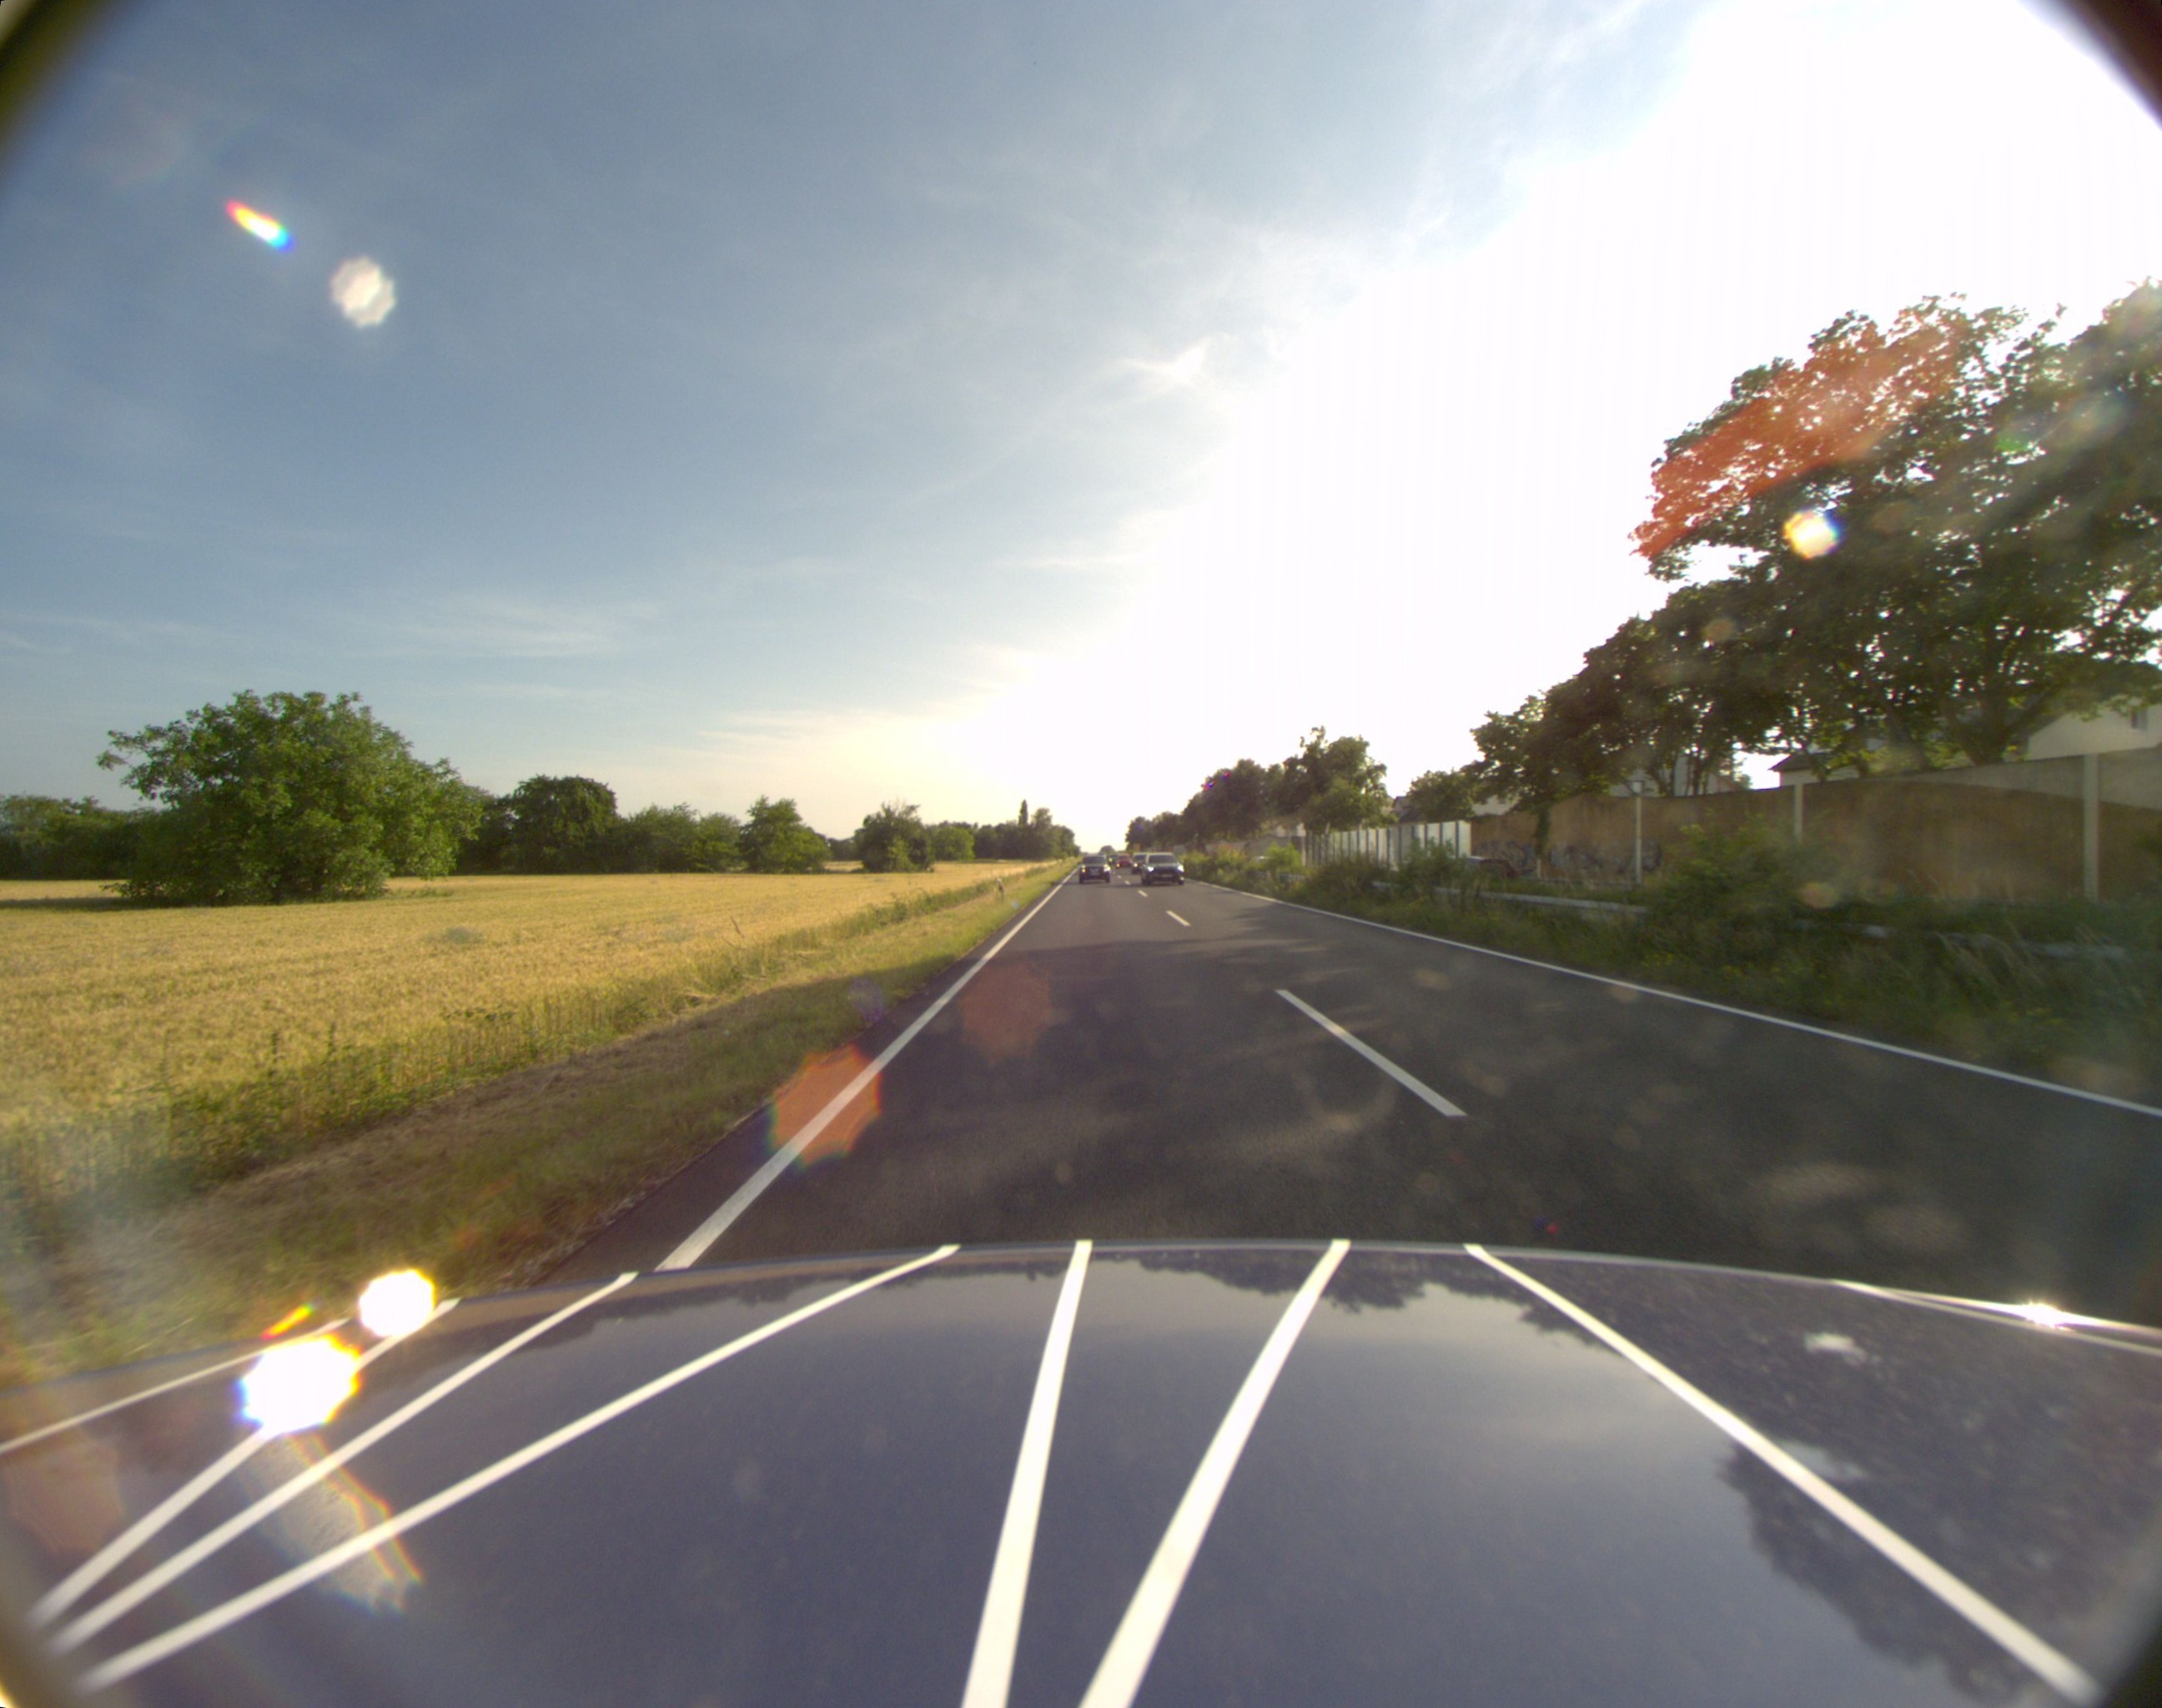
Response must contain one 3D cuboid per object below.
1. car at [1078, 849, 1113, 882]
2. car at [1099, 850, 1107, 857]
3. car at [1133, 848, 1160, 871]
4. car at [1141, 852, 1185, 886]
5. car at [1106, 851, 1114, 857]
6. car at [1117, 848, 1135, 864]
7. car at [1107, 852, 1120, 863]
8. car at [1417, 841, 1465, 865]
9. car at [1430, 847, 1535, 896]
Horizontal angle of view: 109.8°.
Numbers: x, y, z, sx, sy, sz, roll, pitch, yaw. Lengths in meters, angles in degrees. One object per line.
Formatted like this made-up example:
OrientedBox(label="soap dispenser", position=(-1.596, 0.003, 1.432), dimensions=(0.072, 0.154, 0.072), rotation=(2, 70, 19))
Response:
OrientedBox(label="car", position=(0.806, 0.609, 42.007), dimensions=(1.822, 1.661, 4.000), rotation=(-2, 1, 1))
OrientedBox(label="car", position=(5.651, -0.096, 195.485), dimensions=(1.854, 1.641, 3.999), rotation=(-2, 1, 1))
OrientedBox(label="car", position=(5.178, 0.420, 60.277), dimensions=(1.822, 1.724, 4.000), rotation=(-2, 1, 2))
OrientedBox(label="car", position=(4.113, 0.695, 38.540), dimensions=(1.821, 1.516, 4.246), rotation=(-2, 1, 2))
OrientedBox(label="car", position=(6.612, -0.004, 172.033), dimensions=(1.693, 1.397, 4.000), rotation=(-2, 1, 1))
OrientedBox(label="car", position=(4.897, 0.184, 83.373), dimensions=(1.822, 1.661, 4.000), rotation=(-2, 1, 1))
OrientedBox(label="car", position=(4.659, 0.553, 109.440), dimensions=(1.700, 1.456, 3.646), rotation=(-2, 1, 1))
OrientedBox(label="car", position=(31.175, -0.129, 65.947), dimensions=(1.790, 1.908, 4.914), rotation=(-2, 1, 1))
OrientedBox(label="car", position=(15.463, 0.611, 29.520), dimensions=(1.942, 1.718, 3.999), rotation=(-2, 1, 1))
